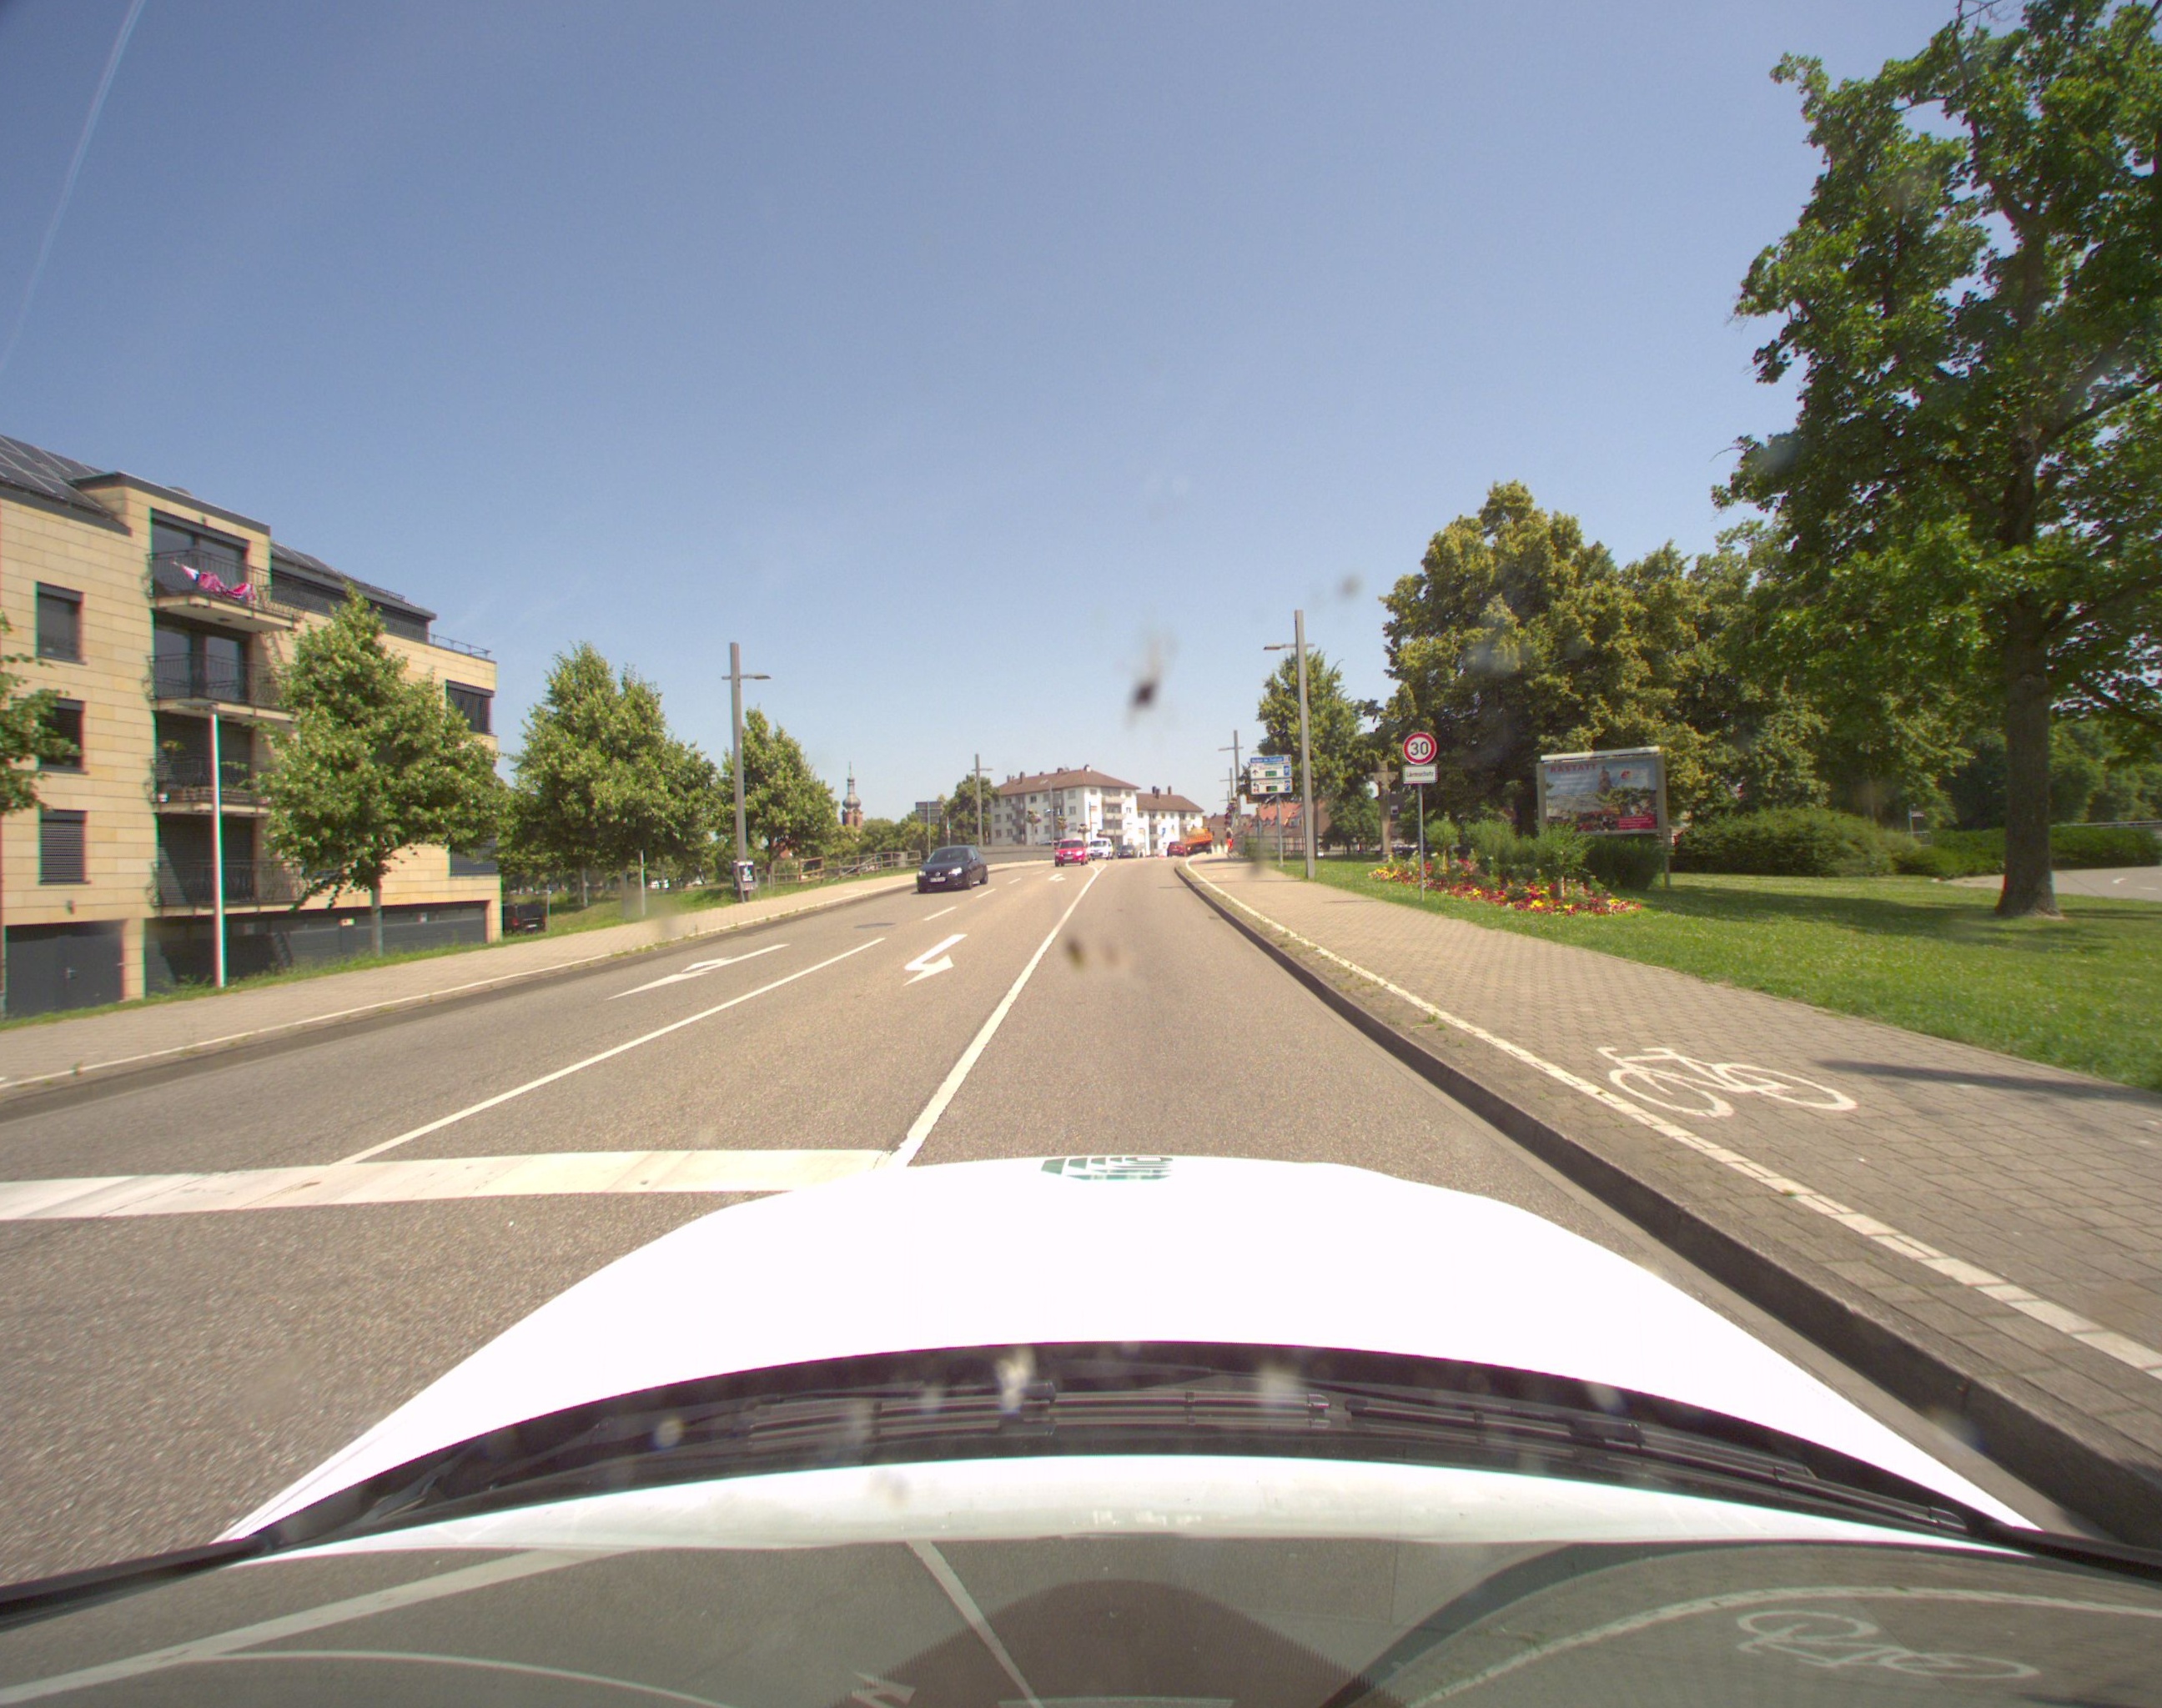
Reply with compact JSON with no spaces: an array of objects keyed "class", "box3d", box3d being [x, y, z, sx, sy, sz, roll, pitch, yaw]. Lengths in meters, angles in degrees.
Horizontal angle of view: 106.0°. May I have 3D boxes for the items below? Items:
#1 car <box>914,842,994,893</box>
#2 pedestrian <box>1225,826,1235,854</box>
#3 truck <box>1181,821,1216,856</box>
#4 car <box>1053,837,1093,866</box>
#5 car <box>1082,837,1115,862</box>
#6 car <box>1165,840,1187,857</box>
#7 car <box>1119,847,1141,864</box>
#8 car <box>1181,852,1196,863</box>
[{"class":"car","box3d":[-4.298,0.410,28.249,1.706,1.485,4.038,-3,1,5]},{"class":"pedestrian","box3d":[10.661,-1.021,58.399,0.545,1.960,0.672,-2,-2,0]},{"class":"truck","box3d":[9.944,-1.281,68.563,2.590,2.691,5.839,-3,0,10]},{"class":"car","box3d":[-0.426,-0.151,45.670,1.637,1.464,3.870,-2,0,8]},{"class":"car","box3d":[1.471,-0.328,66.112,1.825,1.860,4.677,-4,-1,11]},{"class":"car","box3d":[9.575,-0.509,81.558,1.979,1.613,4.352,-3,-1,8]},{"class":"car","box3d":[5.141,0.140,85.828,1.726,1.640,3.932,-5,-1,10]},{"class":"car","box3d":[15.344,0.532,115.971,2.026,1.503,4.428,-1,-1,9]}]
